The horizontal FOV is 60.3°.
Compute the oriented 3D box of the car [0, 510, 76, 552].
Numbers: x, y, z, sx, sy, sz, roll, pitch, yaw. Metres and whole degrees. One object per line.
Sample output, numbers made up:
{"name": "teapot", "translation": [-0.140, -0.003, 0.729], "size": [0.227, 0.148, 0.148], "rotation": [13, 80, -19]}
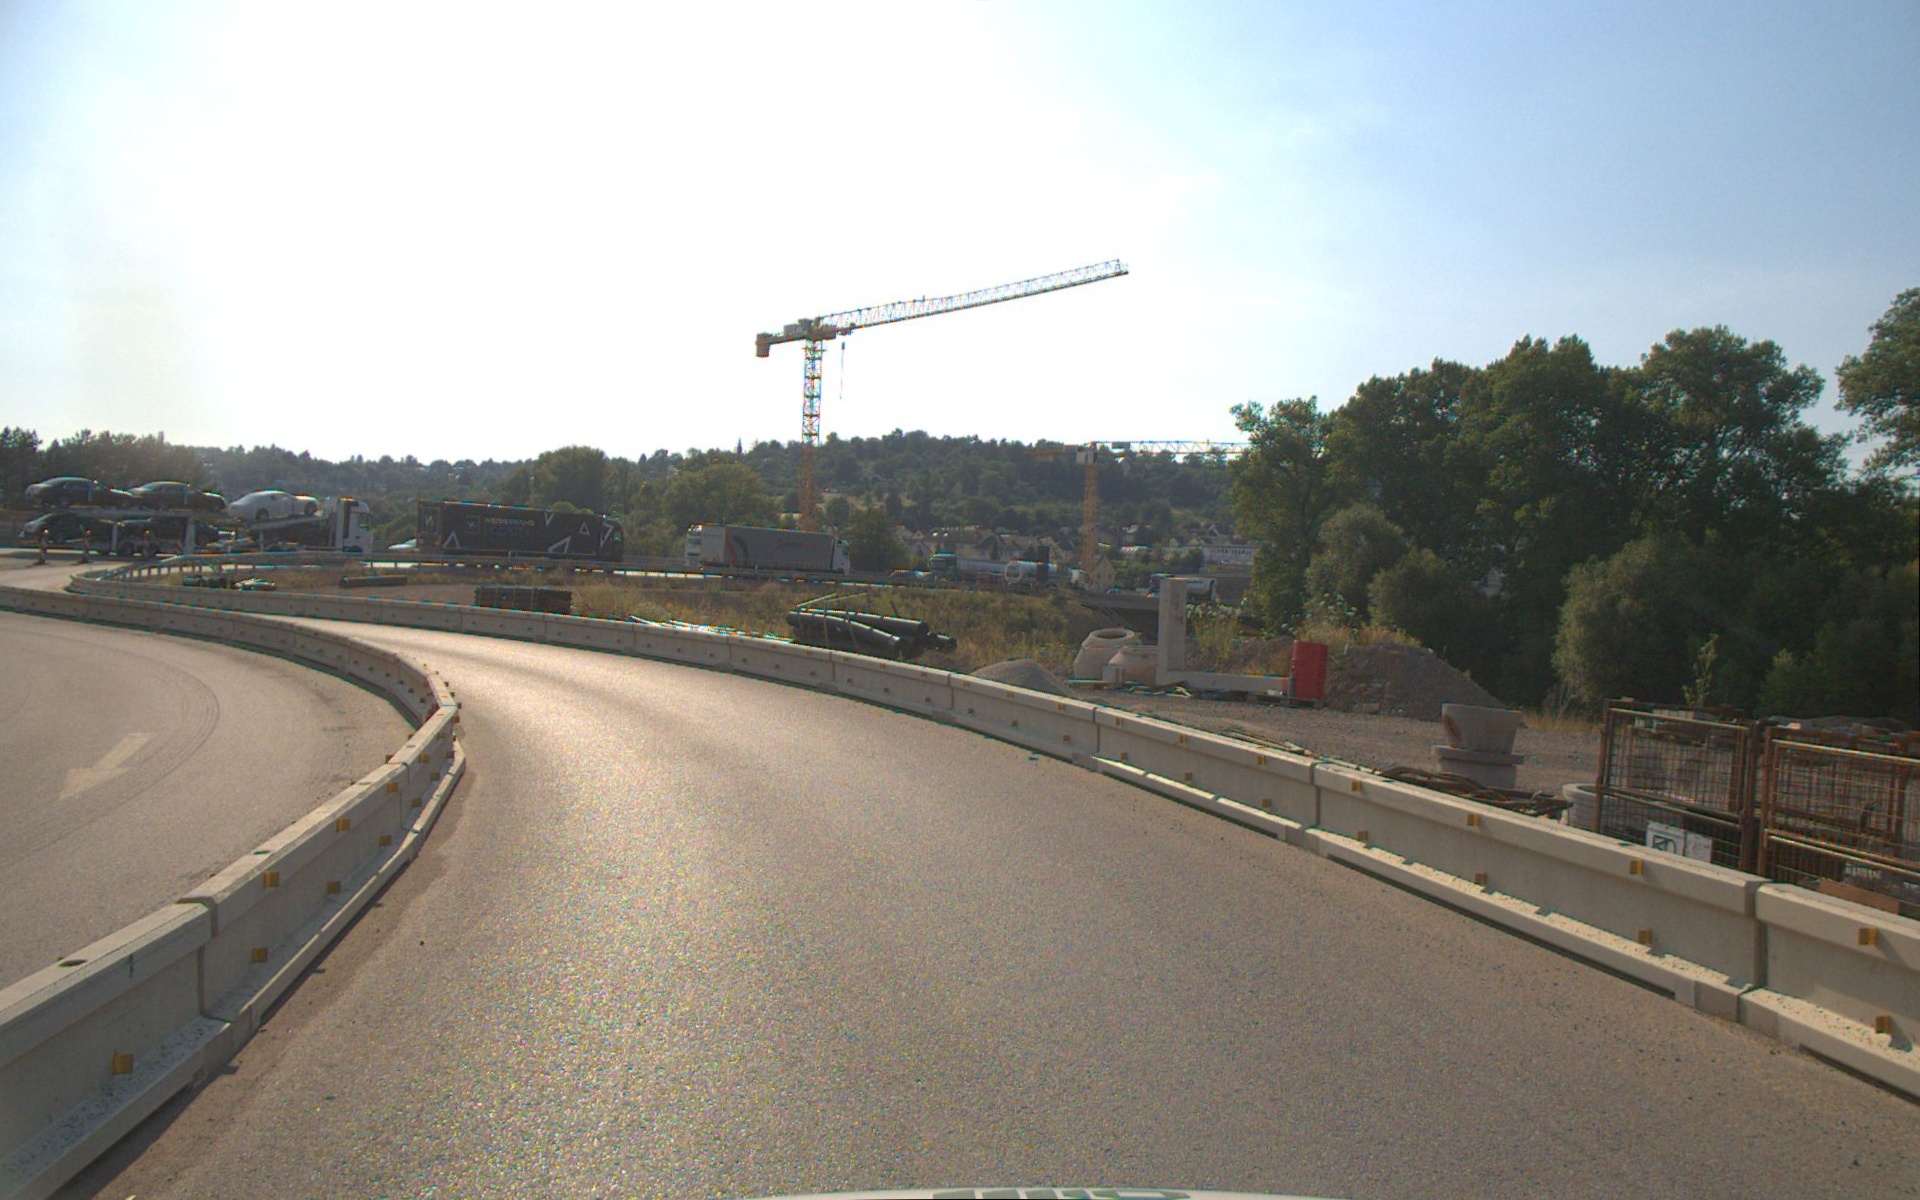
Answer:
{"name": "car", "translation": [-51.146, -3.784, 90.031], "size": [1.994, 2.014, 4.964], "rotation": [6, 2, 33]}

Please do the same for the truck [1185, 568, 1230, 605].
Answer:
{"name": "truck", "translation": [31.219, -1.678, 208.531], "size": [3.043, 4.359, 6.606], "rotation": [3, 1, 32]}

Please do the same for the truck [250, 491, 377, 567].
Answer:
{"name": "truck", "translation": [-38.600, -4.206, 98.937], "size": [2.798, 4.065, 6.606], "rotation": [3, 1, 32]}

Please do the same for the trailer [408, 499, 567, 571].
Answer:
{"name": "trailer", "translation": [-31.361, -4.276, 110.421], "size": [2.907, 4.163, 10.759], "rotation": [2, 0, 33]}

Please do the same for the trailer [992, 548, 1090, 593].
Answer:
{"name": "trailer", "translation": [8.653, -2.996, 173.170], "size": [3.325, 4.065, 14.704], "rotation": [3, 1, 32]}

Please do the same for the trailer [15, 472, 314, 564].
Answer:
{"name": "trailer", "translation": [-43.425, -4.372, 91.390], "size": [2.807, 4.065, 15.703], "rotation": [3, 1, 32]}

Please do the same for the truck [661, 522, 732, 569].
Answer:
{"name": "truck", "translation": [-22.578, -4.645, 141.893], "size": [2.944, 3.792, 5.671], "rotation": [2, 0, 33]}

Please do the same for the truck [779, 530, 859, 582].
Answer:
{"name": "truck", "translation": [-11.931, -3.706, 140.721], "size": [3.284, 4.065, 6.606], "rotation": [3, 1, 32]}

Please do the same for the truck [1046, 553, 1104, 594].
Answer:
{"name": "truck", "translation": [12.498, -2.830, 179.283], "size": [3.330, 4.065, 6.606], "rotation": [3, 1, 32]}

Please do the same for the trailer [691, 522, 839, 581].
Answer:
{"name": "trailer", "translation": [-15.648, -3.869, 134.738], "size": [3.325, 4.065, 14.704], "rotation": [3, 1, 32]}

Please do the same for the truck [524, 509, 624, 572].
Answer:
{"name": "truck", "translation": [-27.213, -4.173, 116.775], "size": [2.835, 4.065, 6.604], "rotation": [3, 1, 34]}

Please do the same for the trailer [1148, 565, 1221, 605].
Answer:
{"name": "trailer", "translation": [27.690, -1.812, 202.918], "size": [3.049, 4.388, 14.213], "rotation": [3, 1, 32]}
